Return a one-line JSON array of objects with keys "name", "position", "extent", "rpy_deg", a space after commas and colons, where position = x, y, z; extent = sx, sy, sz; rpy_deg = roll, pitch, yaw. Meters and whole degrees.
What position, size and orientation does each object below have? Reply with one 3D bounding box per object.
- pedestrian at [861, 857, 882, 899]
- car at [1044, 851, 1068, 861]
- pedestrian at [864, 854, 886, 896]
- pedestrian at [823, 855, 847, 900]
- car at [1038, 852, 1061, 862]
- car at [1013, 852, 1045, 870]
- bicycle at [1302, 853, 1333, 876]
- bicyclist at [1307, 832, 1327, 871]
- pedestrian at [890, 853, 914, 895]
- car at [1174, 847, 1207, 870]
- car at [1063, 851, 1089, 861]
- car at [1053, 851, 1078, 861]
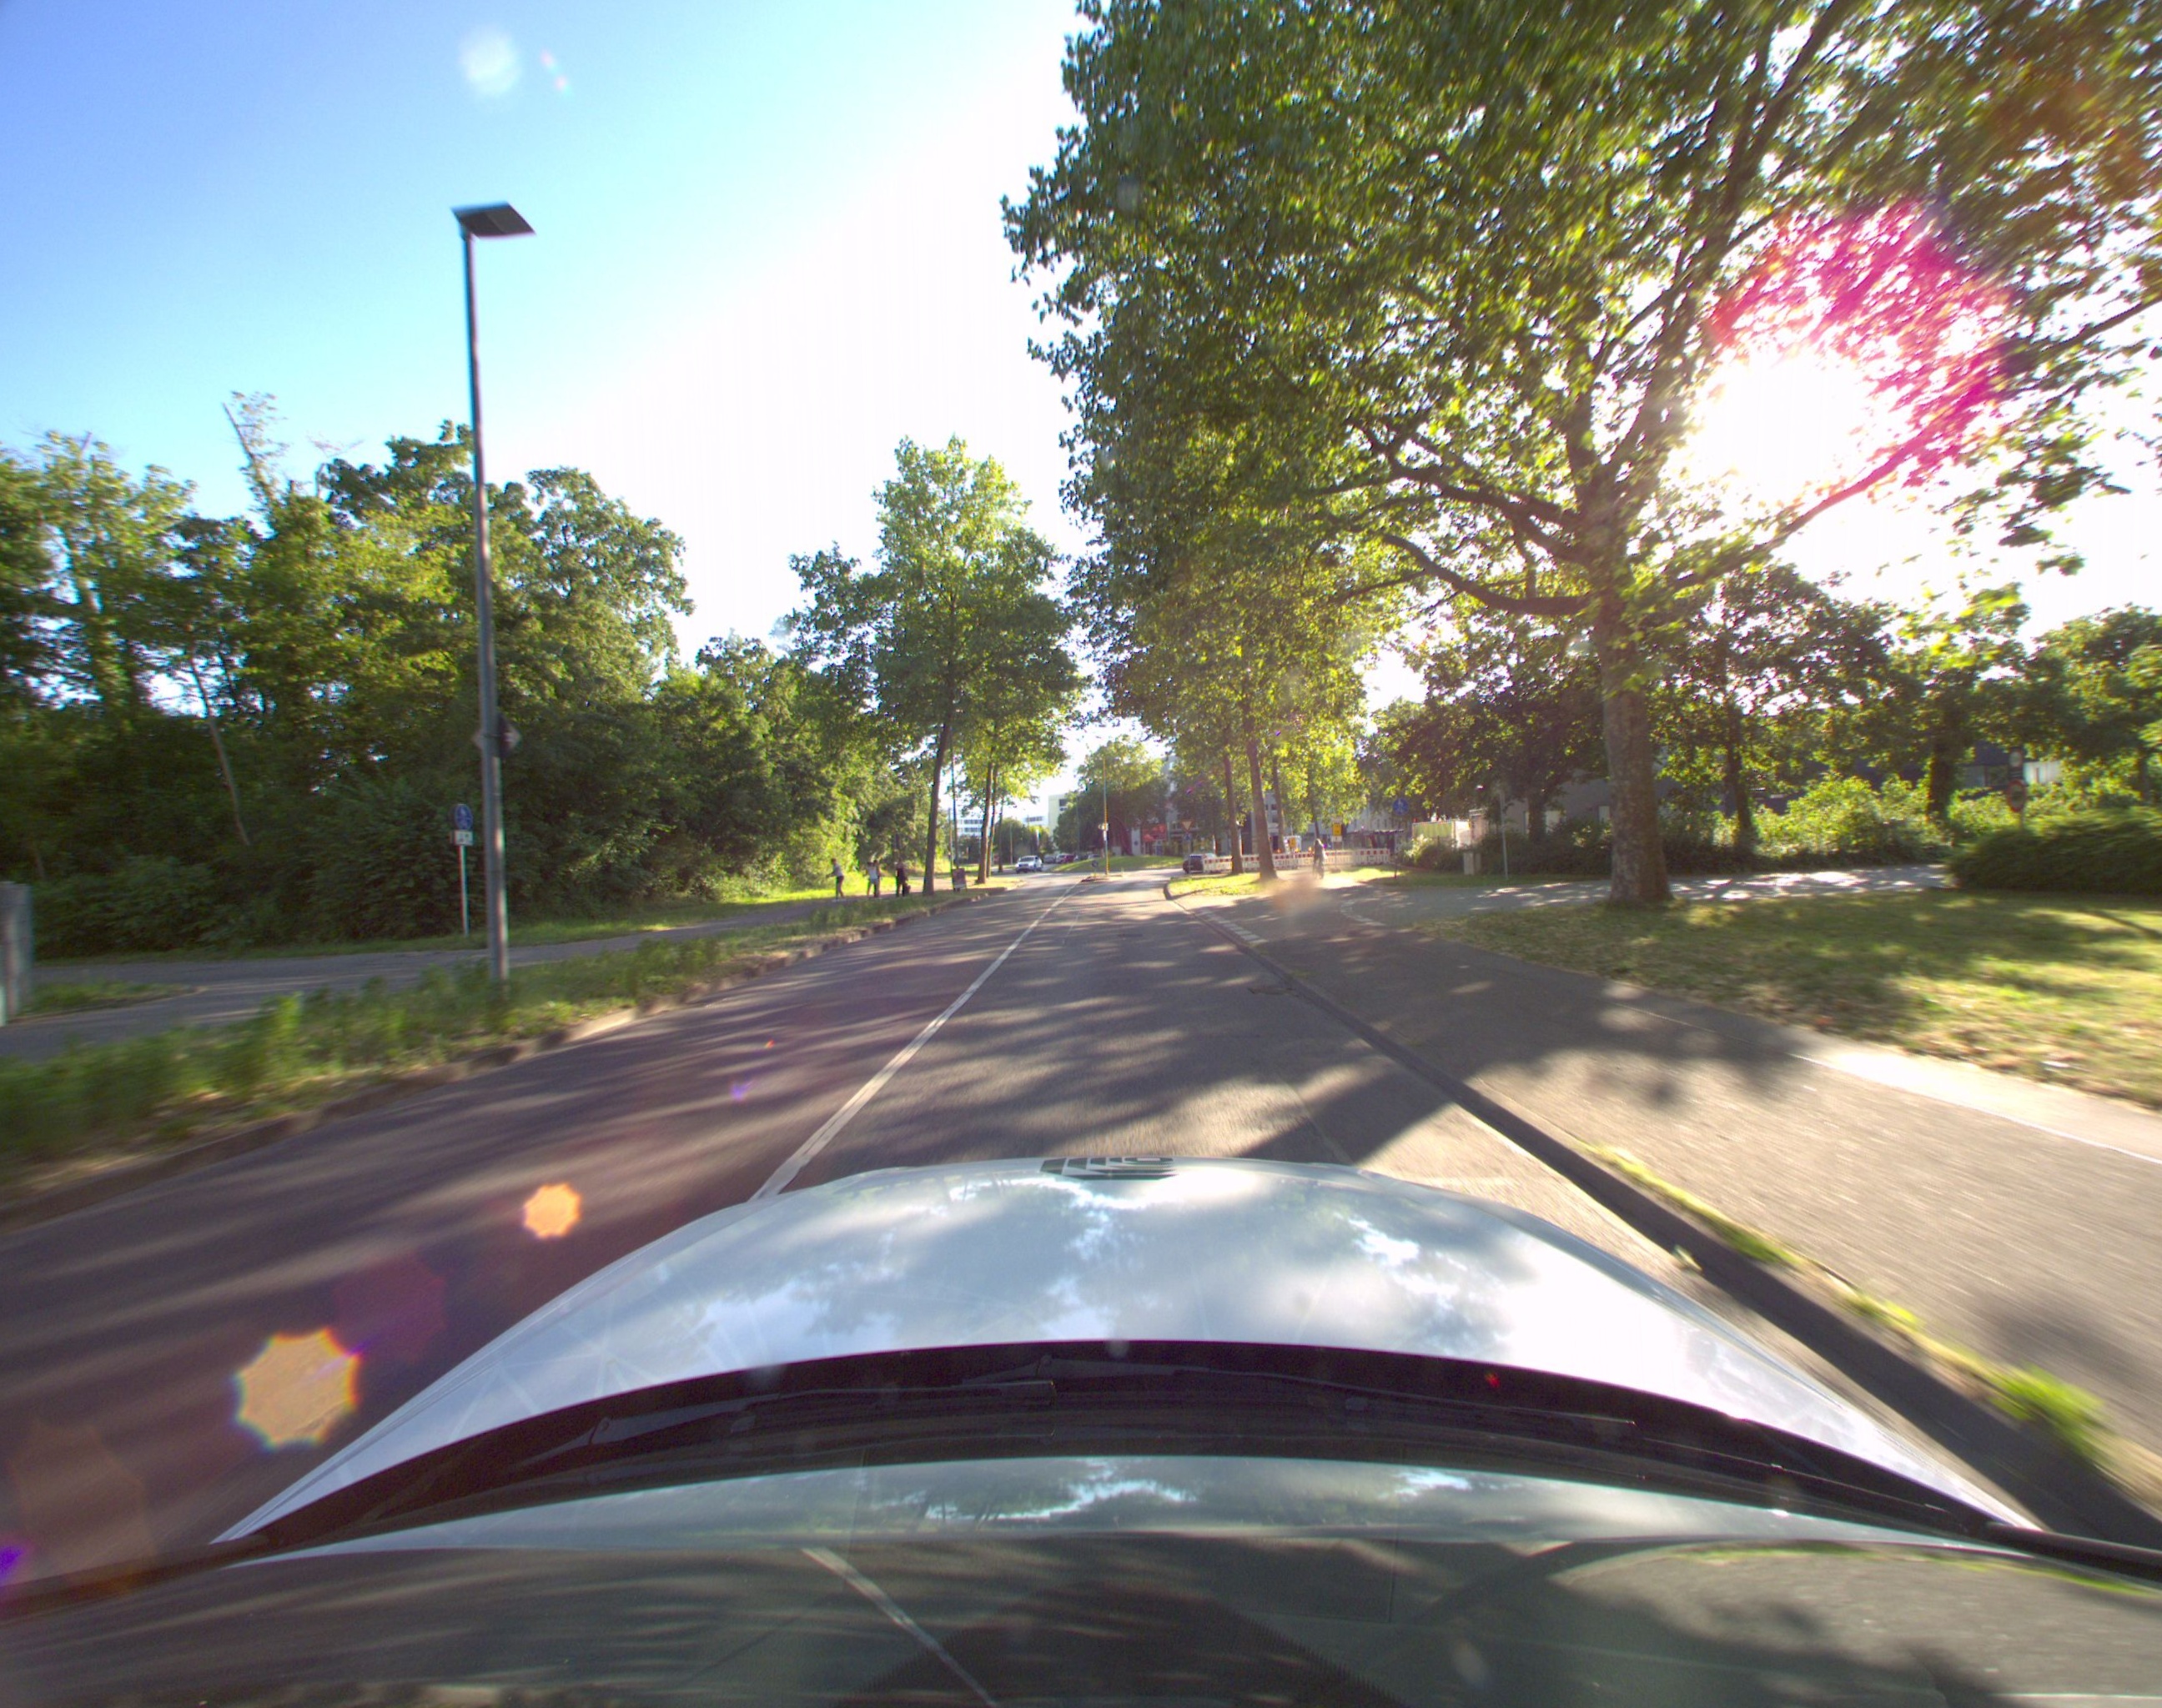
[{"name": "pedestrian", "position": [-8.321, 0.947, 32.372], "extent": [0.636, 1.638, 0.571], "rpy_deg": [-2, 0, -29]}, {"name": "car", "position": [-4.655, 0.372, 151.632], "extent": [4.010, 1.747, 1.779], "rpy_deg": [-1, 0, -28]}, {"name": "pedestrian", "position": [-8.764, 0.892, 34.707], "extent": [0.662, 1.739, 0.752], "rpy_deg": [-2, 0, 3]}, {"name": "pedestrian", "position": [-9.753, 0.920, 32.303], "extent": [0.660, 1.739, 0.635], "rpy_deg": [-2, 0, 1]}, {"name": "car", "position": [-5.963, 0.560, 153.802], "extent": [4.010, 1.747, 1.779], "rpy_deg": [-1, 0, -28]}, {"name": "car", "position": [-4.971, 0.691, 78.354], "extent": [1.980, 1.578, 4.014], "rpy_deg": [-2, 0, 13]}, {"name": "bicycle", "position": [10.643, 0.457, 36.701], "extent": [0.767, 0.964, 2.175], "rpy_deg": [-4, -1, 2]}, {"name": "bicyclist", "position": [10.626, -0.107, 36.645], "extent": [0.648, 1.705, 0.872], "rpy_deg": [-1, 0, 2]}, {"name": "pedestrian", "position": [-7.611, 0.847, 34.673], "extent": [0.745, 1.739, 0.852], "rpy_deg": [-2, 0, 3]}, {"name": "car", "position": [8.263, 0.333, 61.031], "extent": [1.825, 1.605, 3.879], "rpy_deg": [-2, 0, 16]}, {"name": "car", "position": [-0.881, 0.333, 141.055], "extent": [4.010, 1.747, 1.779], "rpy_deg": [-1, 0, -28]}, {"name": "car", "position": [-2.704, 0.371, 143.450], "extent": [4.010, 1.747, 1.779], "rpy_deg": [-1, 0, -28]}]
